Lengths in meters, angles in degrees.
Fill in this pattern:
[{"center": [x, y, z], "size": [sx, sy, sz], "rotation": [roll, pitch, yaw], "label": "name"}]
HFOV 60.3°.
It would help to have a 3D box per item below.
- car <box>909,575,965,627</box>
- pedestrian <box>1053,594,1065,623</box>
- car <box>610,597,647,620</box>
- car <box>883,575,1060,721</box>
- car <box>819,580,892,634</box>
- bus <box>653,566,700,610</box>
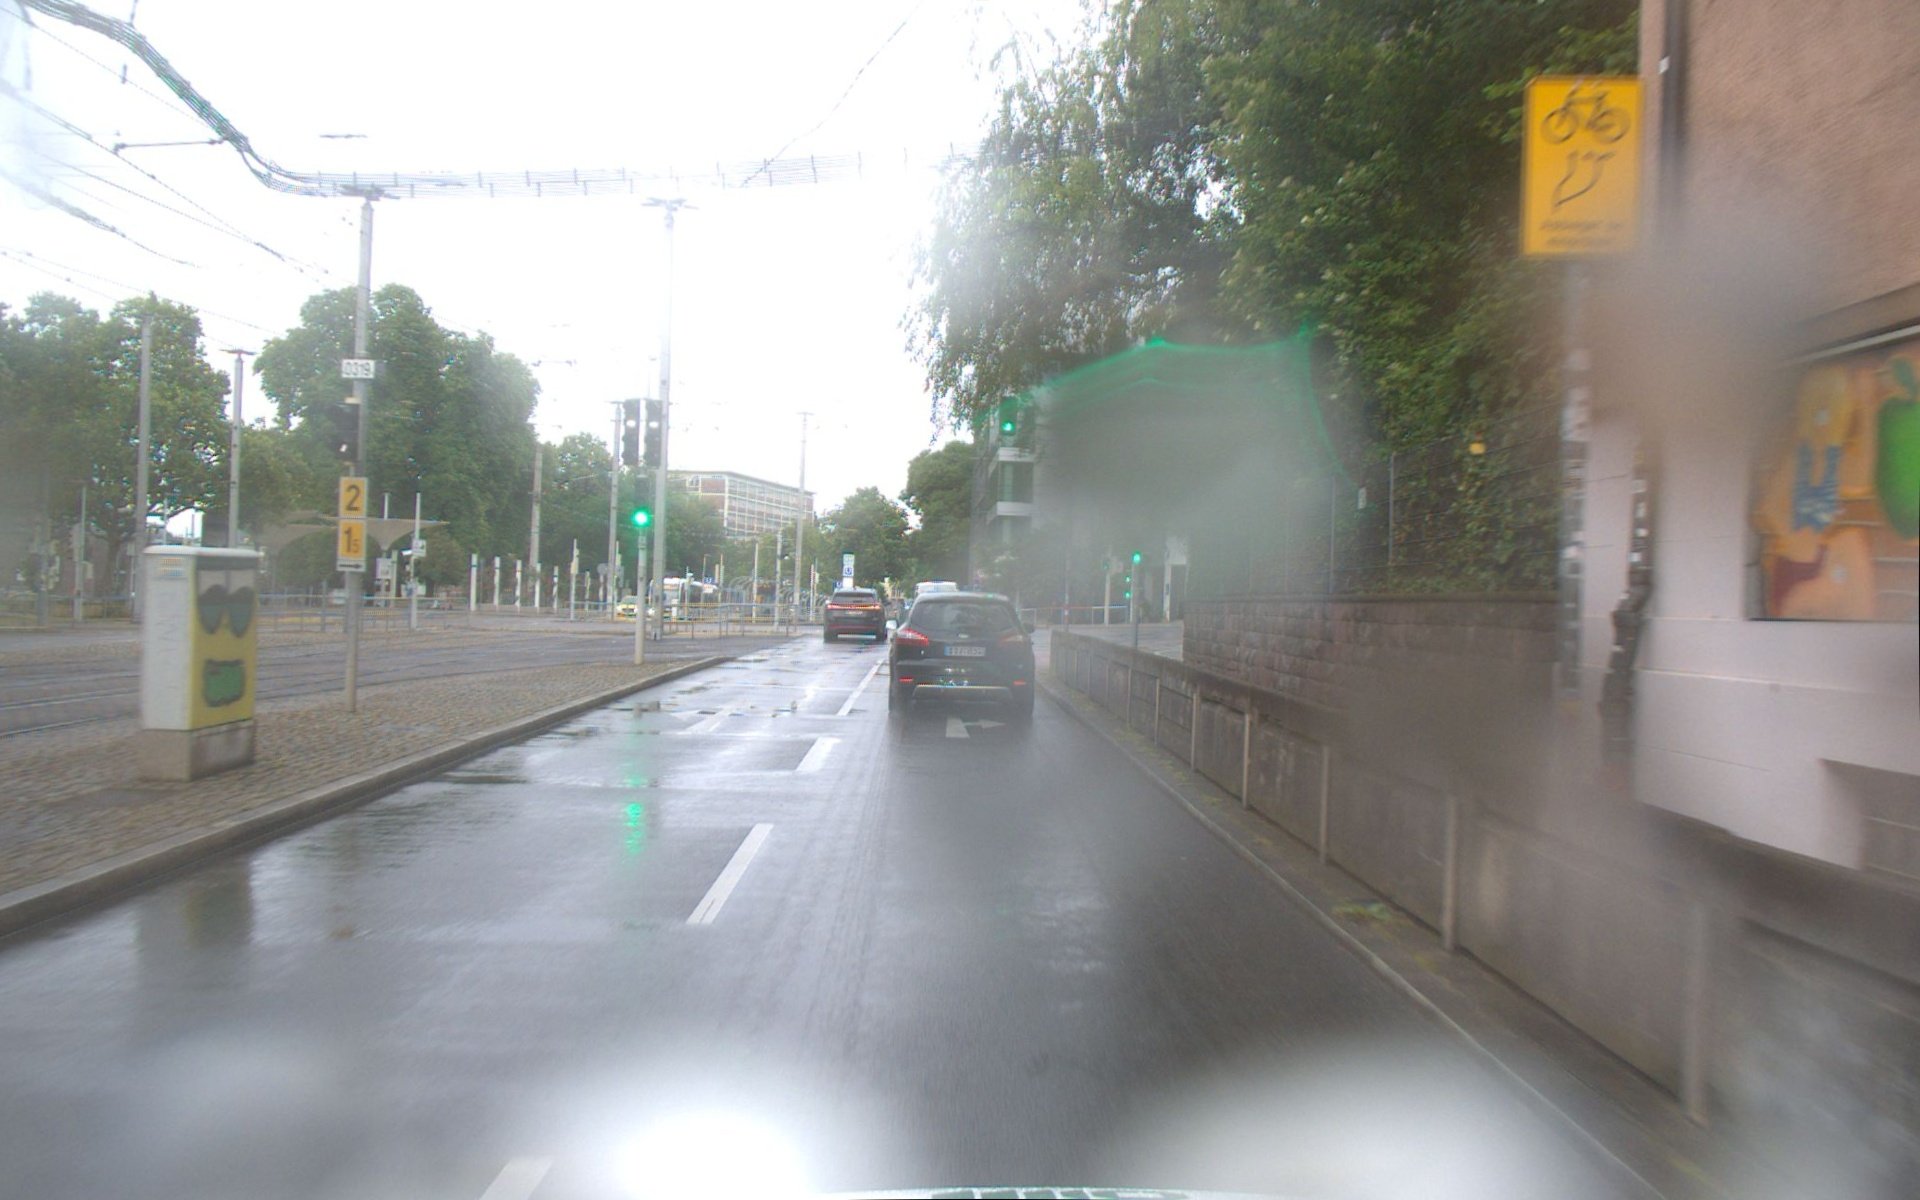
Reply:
[{"center": [-0.852, 0.002, 63.826], "size": [1.994, 1.872, 4.392], "rotation": [2, 0, 1], "label": "car"}, {"center": [5.483, 0.449, 91.429], "size": [0.530, 1.590, 0.521], "rotation": [1, 0, 19], "label": "pedestrian"}, {"center": [-25.863, 0.650, 129.032], "size": [1.953, 1.674, 4.536], "rotation": [1, 0, 0], "label": "car"}, {"center": [0.103, 0.536, 21.309], "size": [1.994, 1.612, 4.391], "rotation": [2, 0, -1], "label": "car"}, {"center": [-3.139, 0.189, 49.789], "size": [2.057, 1.532, 4.728], "rotation": [1, 0, -4], "label": "car"}, {"center": [-22.813, -0.928, 133.584], "size": [3.018, 3.358, 12.505], "rotation": [1, 0, -6], "label": "bus"}]
